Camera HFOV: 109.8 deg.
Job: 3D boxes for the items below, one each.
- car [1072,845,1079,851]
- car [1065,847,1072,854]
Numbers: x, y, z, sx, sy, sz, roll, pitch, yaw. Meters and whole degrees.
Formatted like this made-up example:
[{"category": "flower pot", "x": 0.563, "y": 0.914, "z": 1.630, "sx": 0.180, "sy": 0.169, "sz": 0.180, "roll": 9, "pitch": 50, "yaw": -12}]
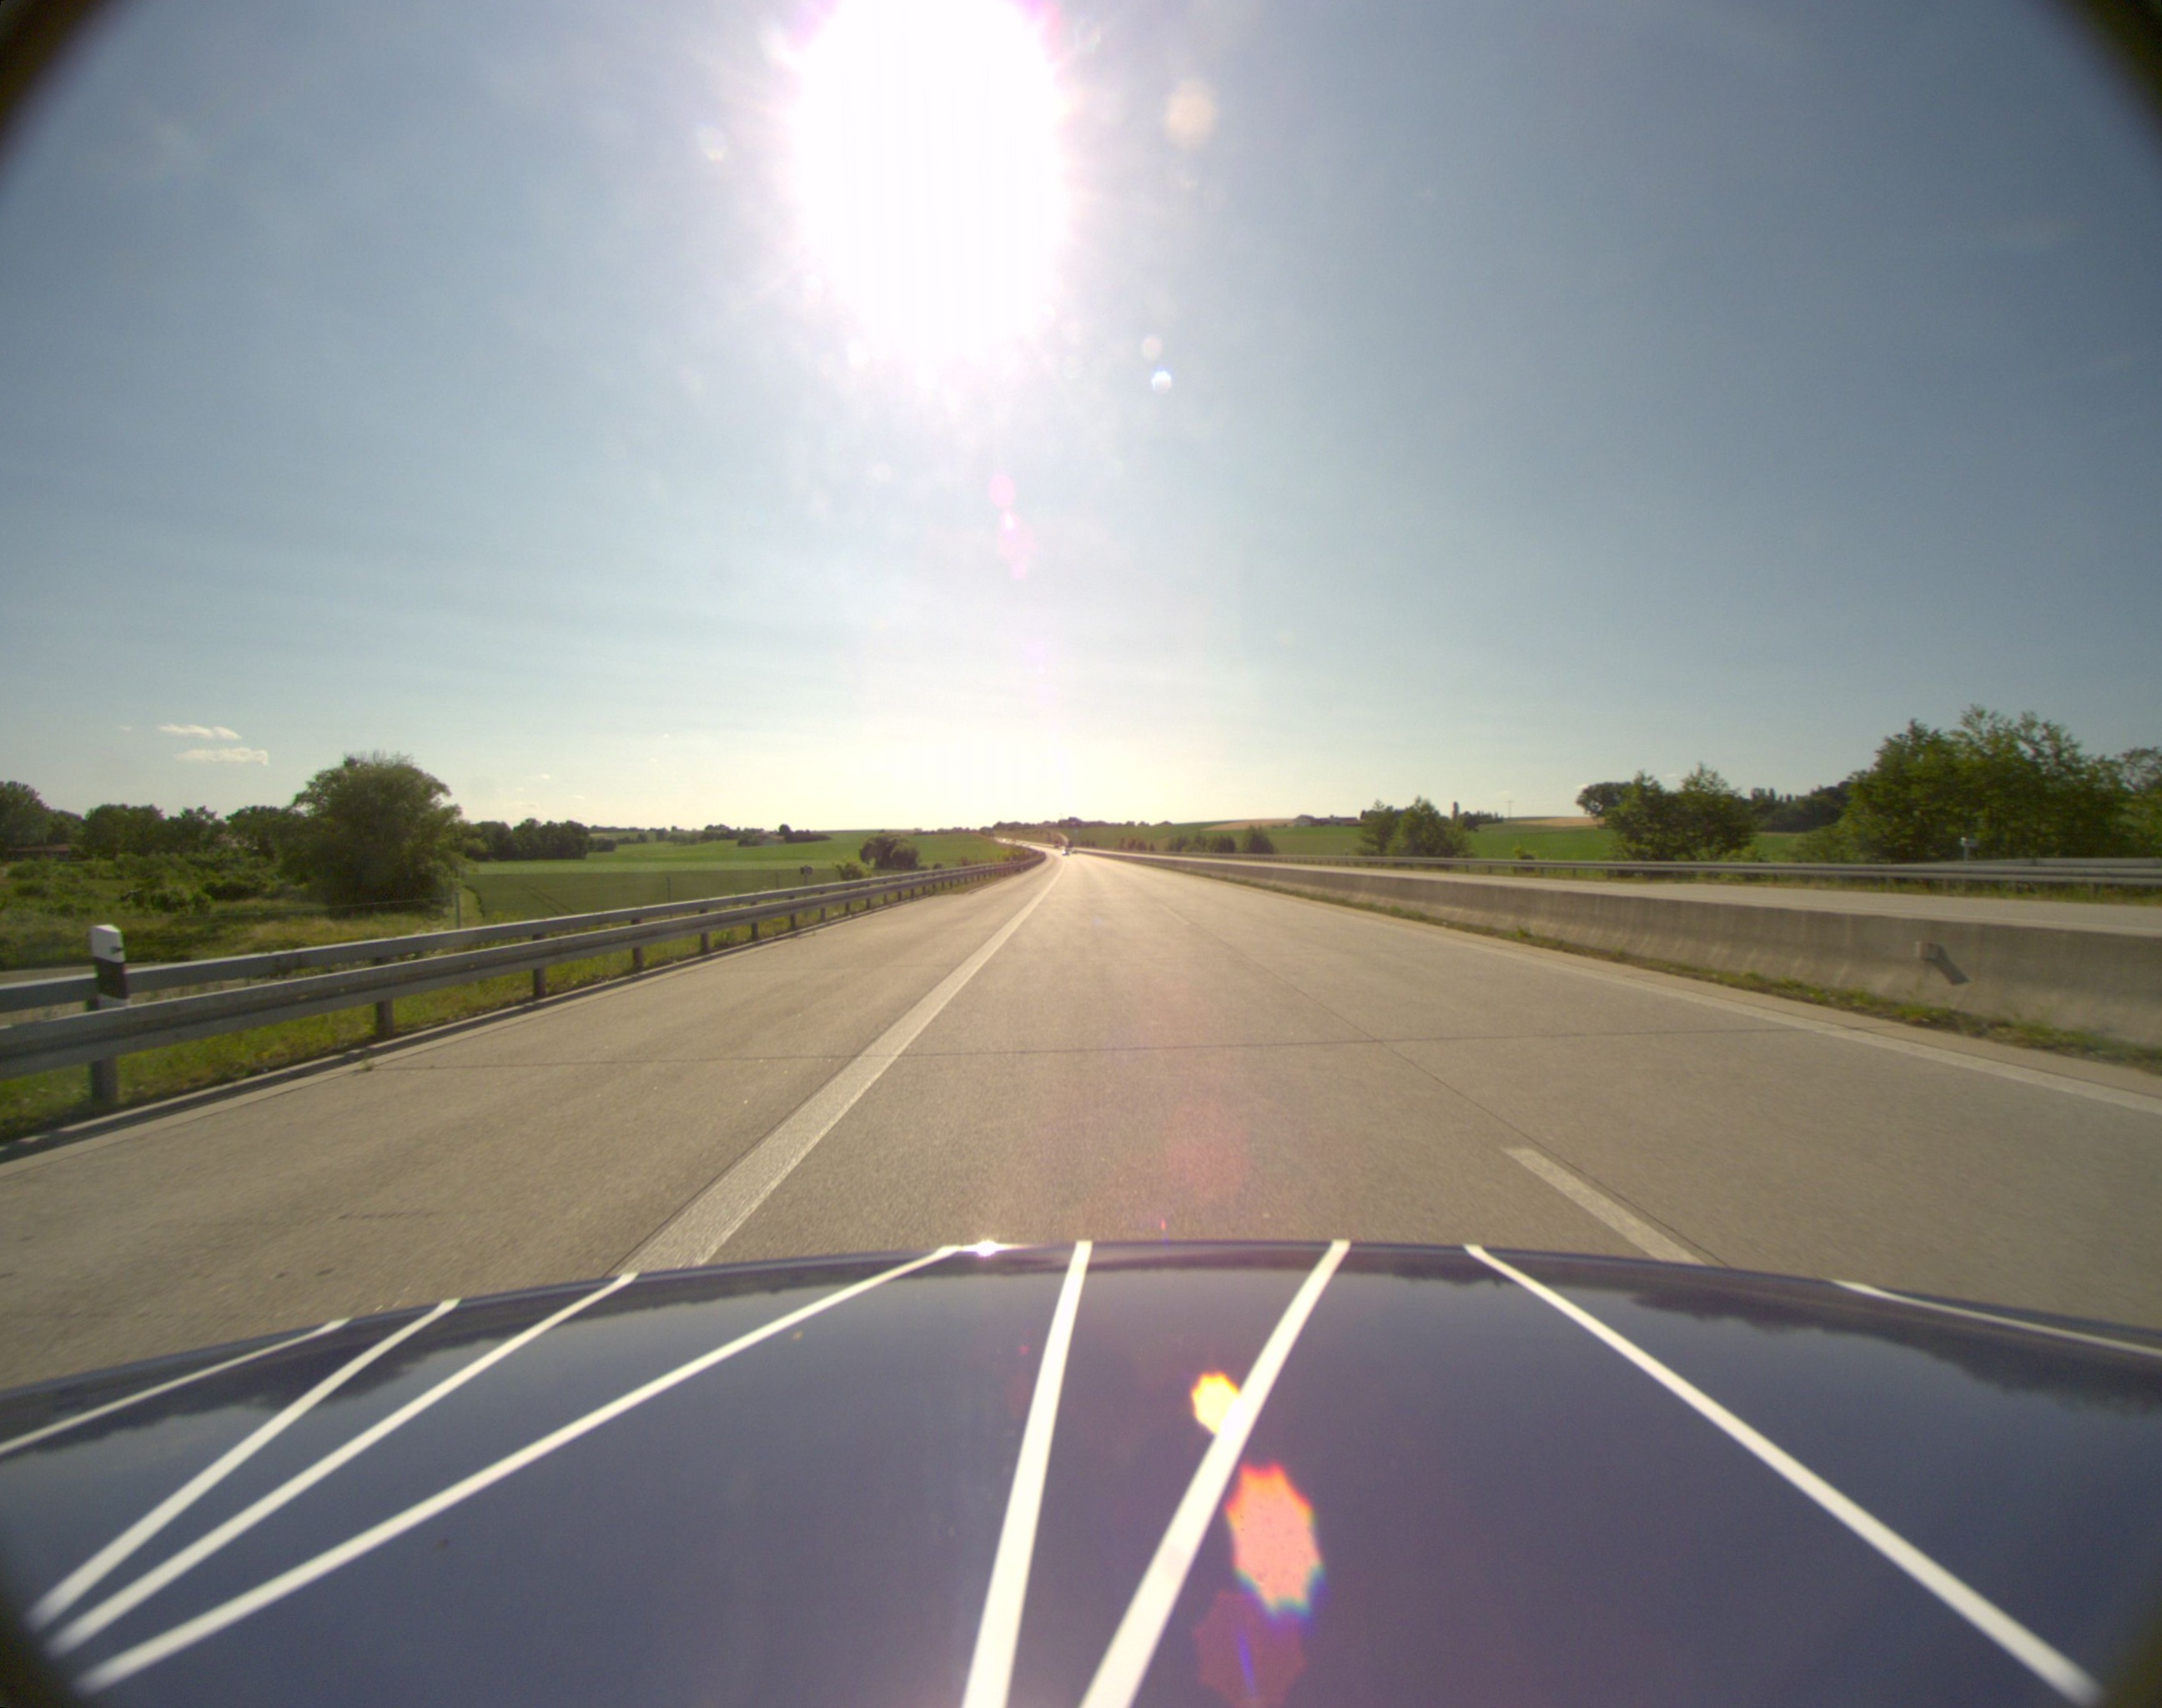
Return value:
[{"category": "car", "x": -1.674, "y": -1.676, "z": 223.680, "sx": 1.715, "sy": 1.580, "sz": 4.624, "roll": -2, "pitch": 2, "yaw": -4}, {"category": "car", "x": -3.182, "y": -0.857, "z": 193.668, "sx": 1.715, "sy": 1.580, "sz": 4.625, "roll": -2, "pitch": 2, "yaw": -2}]
